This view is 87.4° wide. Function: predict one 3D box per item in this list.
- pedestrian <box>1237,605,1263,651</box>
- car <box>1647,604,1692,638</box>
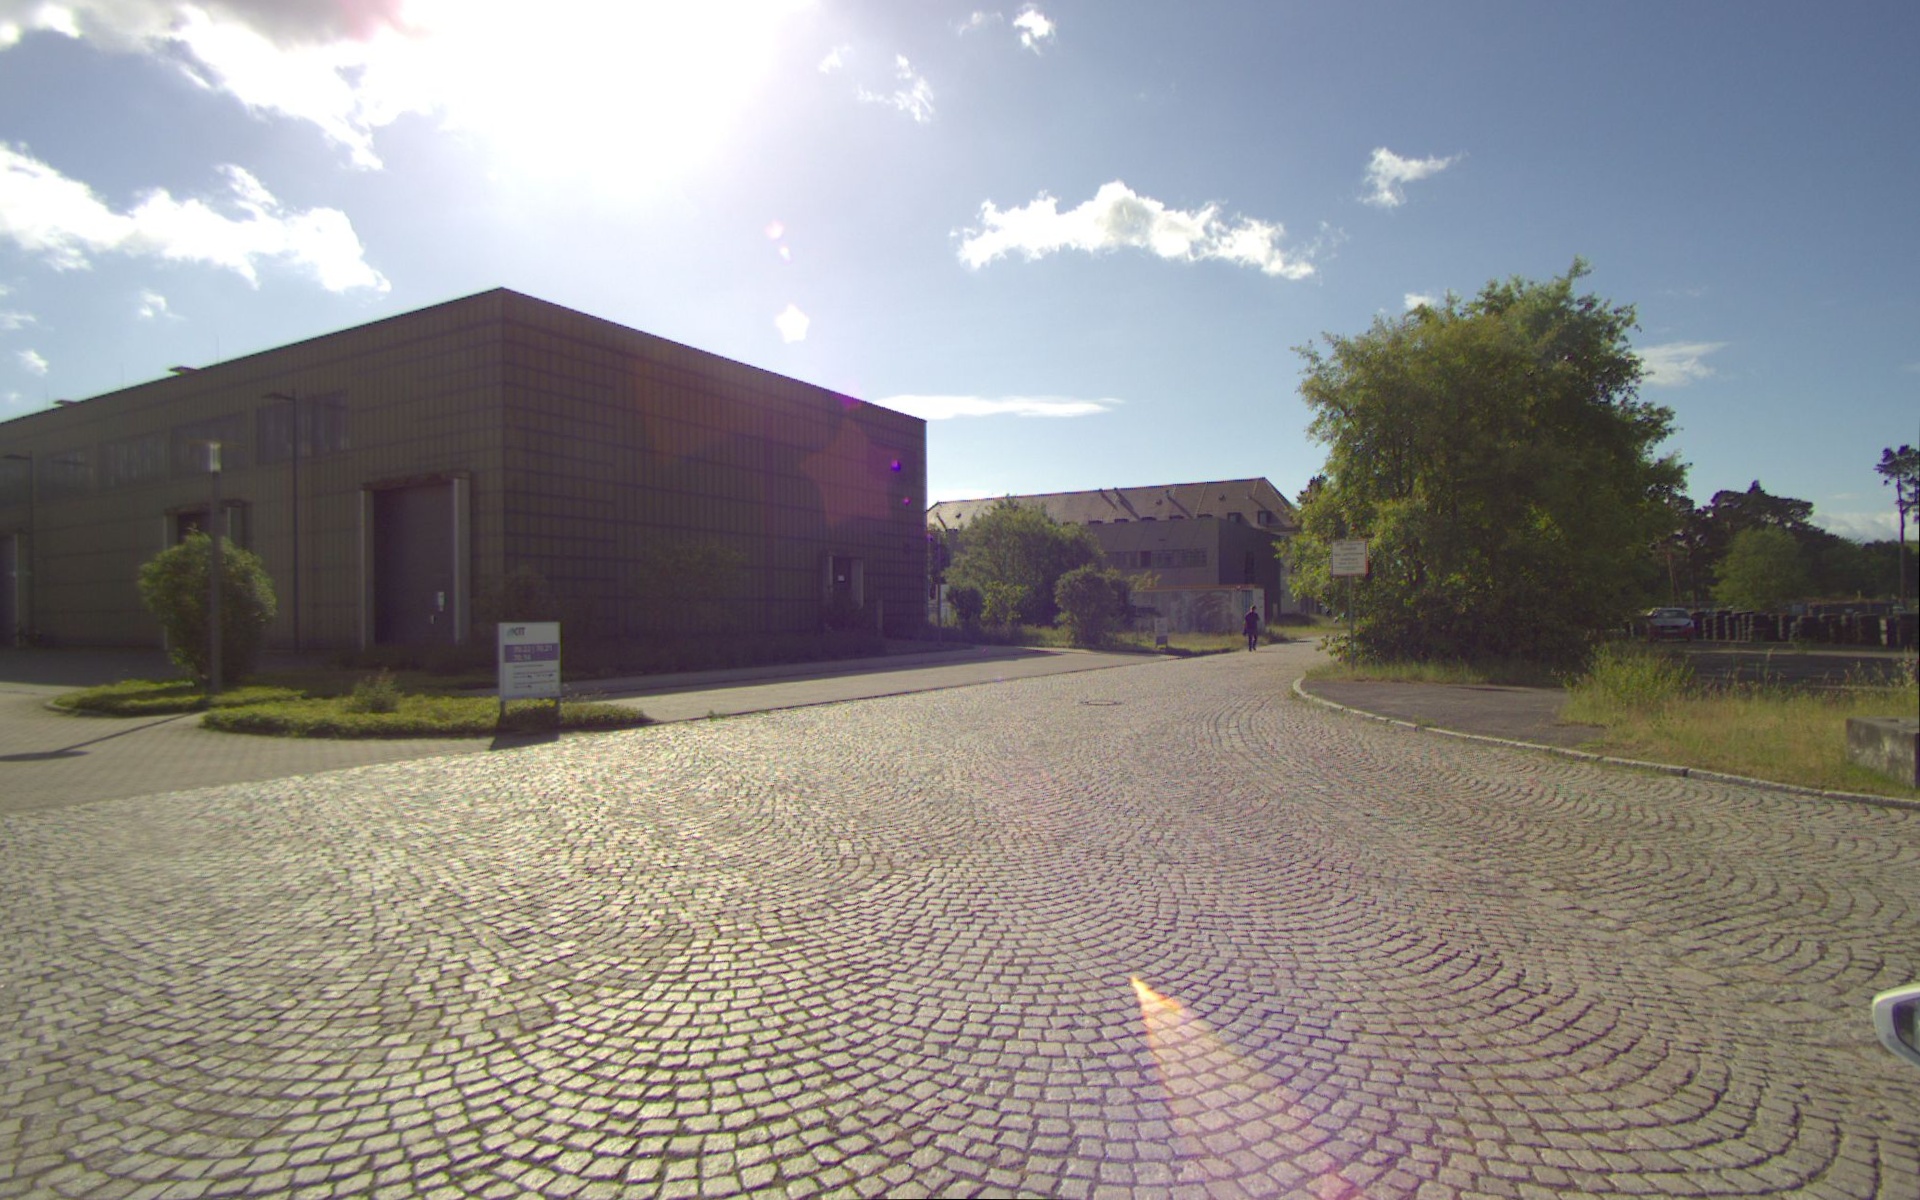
[{"bbox_3d":[11.727,1.117,40.619,0.783,1.804,1.067,1,0,28],"label":"pedestrian"},{"bbox_3d":[30.750,0.899,43.563,1.520,1.425,3.565,-1,-1,35],"label":"car"}]
